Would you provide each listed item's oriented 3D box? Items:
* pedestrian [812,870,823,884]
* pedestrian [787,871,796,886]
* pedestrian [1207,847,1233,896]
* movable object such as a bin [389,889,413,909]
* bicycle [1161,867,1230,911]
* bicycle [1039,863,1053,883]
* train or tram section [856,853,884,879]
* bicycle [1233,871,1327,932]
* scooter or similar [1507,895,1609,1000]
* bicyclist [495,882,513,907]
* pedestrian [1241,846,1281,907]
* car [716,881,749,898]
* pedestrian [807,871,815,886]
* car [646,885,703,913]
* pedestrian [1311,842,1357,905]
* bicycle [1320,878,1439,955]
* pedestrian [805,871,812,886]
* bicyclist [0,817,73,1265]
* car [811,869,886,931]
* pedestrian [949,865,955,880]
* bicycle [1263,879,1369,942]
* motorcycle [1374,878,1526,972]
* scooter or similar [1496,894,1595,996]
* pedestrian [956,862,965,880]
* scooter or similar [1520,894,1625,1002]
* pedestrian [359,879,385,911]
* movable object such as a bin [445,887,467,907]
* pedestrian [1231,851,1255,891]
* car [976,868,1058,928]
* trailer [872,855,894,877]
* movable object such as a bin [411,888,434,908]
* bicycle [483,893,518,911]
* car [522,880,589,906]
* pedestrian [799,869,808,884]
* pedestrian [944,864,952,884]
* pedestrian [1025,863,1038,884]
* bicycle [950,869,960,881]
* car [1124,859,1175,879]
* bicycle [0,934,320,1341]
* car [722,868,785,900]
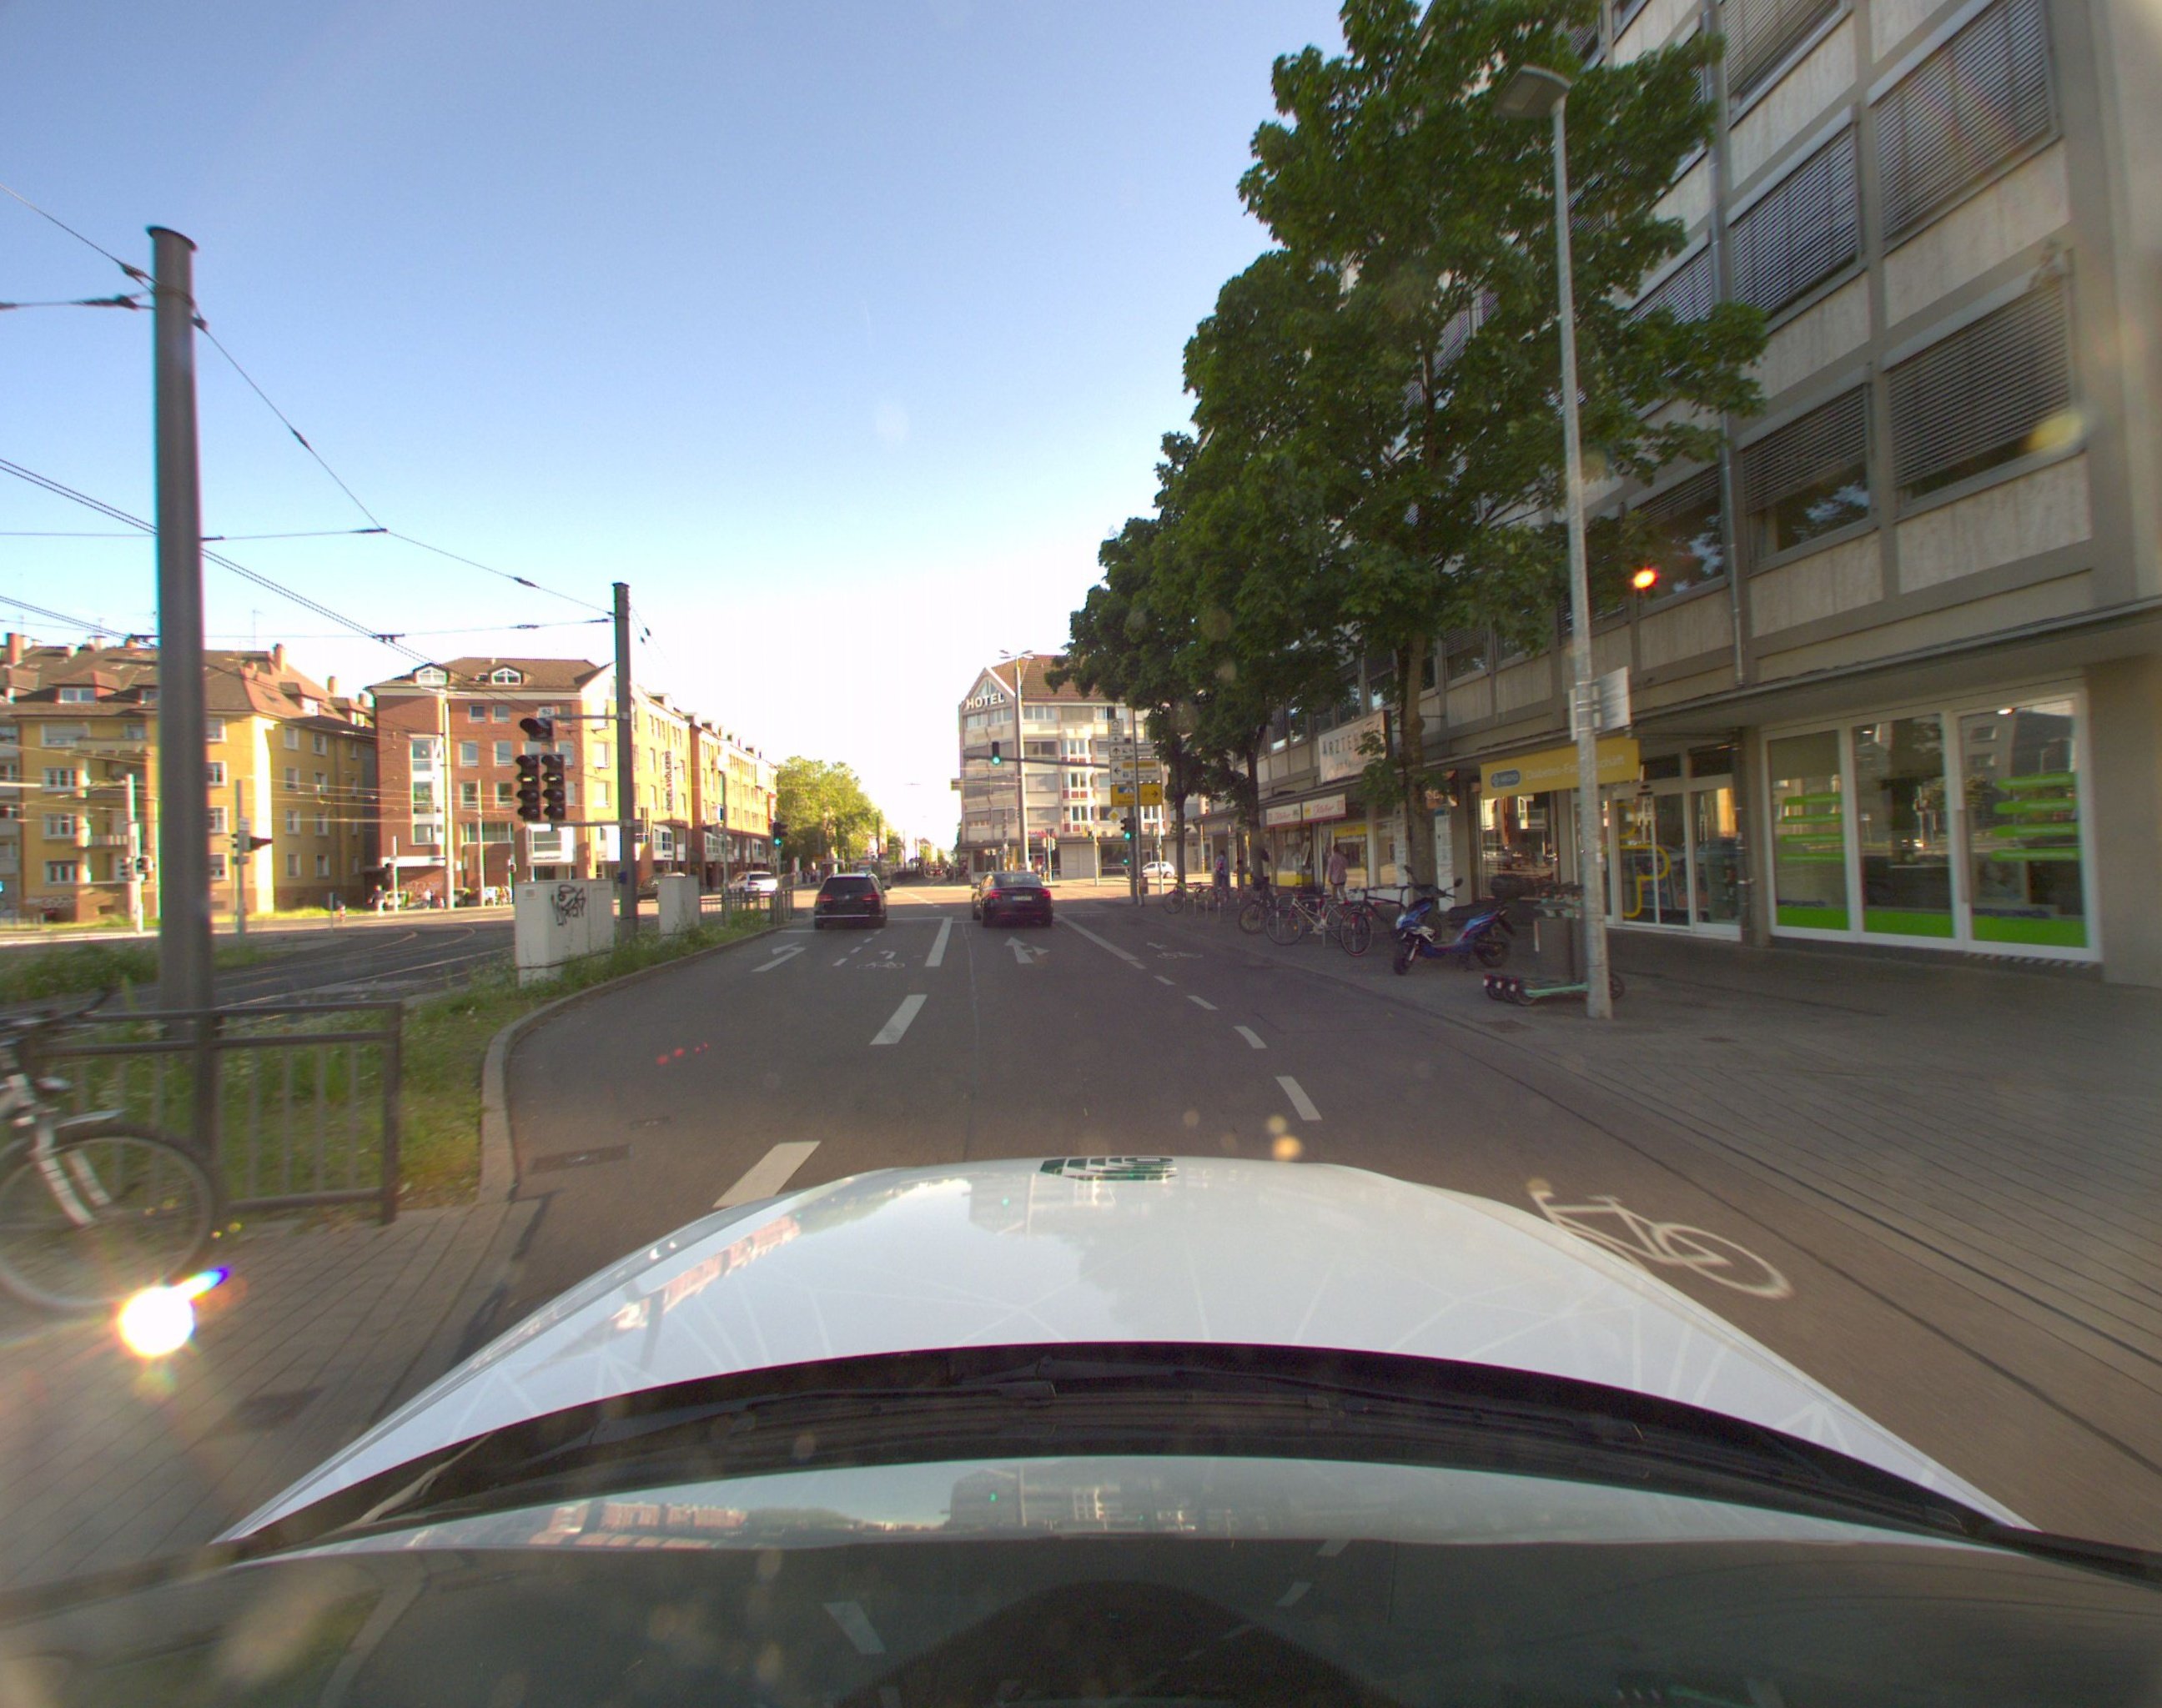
[{"bbox_3d":[-31.169,2.755,96.367,1.108,1.625,0.843,-2,-1,-17],"label":"pedestrian"},{"bbox_3d":[-29.785,2.506,83.792,0.632,1.564,0.587,-2,-1,9],"label":"pedestrian"},{"bbox_3d":[4.961,0.624,29.152,0.838,1.721,0.882,-2,-1,9],"label":"pedestrian"},{"bbox_3d":[-51.460,3.405,61.663,0.998,1.437,1.090,-2,-1,-16],"label":"movable object such as a bin"},{"bbox_3d":[3.337,1.014,23.828,1.887,1.156,0.479,-4,-1,-6],"label":"bicycle"},{"bbox_3d":[-2.724,1.460,63.193,0.584,1.463,1.674,-2,-1,-21],"label":"bicycle"},{"bbox_3d":[-31.137,1.799,120.481,2.728,3.542,10.057,-2,-1,-8],"label":"train or tram section"},{"bbox_3d":[4.093,0.965,16.755,1.810,1.151,0.434,-3,-1,-11],"label":"bicycle"},{"bbox_3d":[5.001,0.974,8.542,0.954,1.039,0.159,-3,-1,-4],"label":"scooter or similar"},{"bbox_3d":[-41.826,2.919,59.038,0.826,1.772,0.613,-2,-1,-5],"label":"bicyclist"},{"bbox_3d":[5.223,0.645,23.699,0.842,1.707,0.878,-2,-1,-7],"label":"pedestrian"},{"bbox_3d":[-34.917,3.502,81.759,1.814,1.454,3.971,-4,-1,-5],"label":"car"},{"bbox_3d":[-31.131,2.778,93.973,0.633,1.721,0.585,-2,-1,0],"label":"pedestrian"},{"bbox_3d":[-25.311,2.790,50.706,3.734,1.618,1.588,-3,-1,35],"label":"car"},{"bbox_3d":[6.693,0.509,21.570,0.842,1.602,0.878,-2,-1,-7],"label":"pedestrian"},{"bbox_3d":[4.719,0.965,12.850,1.855,1.056,0.397,-3,-1,-18],"label":"bicycle"},{"bbox_3d":[-29.104,2.598,87.017,0.586,1.531,0.632,-1,-1,-23],"label":"pedestrian"},{"bbox_3d":[-4.016,0.642,2.669,0.685,1.523,0.629,-1,-1,-27],"label":"bicyclist"},{"bbox_3d":[-6.335,1.170,22.280,1.768,1.444,4.504,-1,-1,-16],"label":"car"},{"bbox_3d":[-13.405,1.903,84.724,0.474,1.563,0.540,-1,-1,-28],"label":"pedestrian"},{"bbox_3d":[4.260,1.018,14.816,1.762,1.057,0.457,-2,-1,-2],"label":"bicycle"},{"bbox_3d":[4.853,0.912,10.743,1.785,1.130,0.503,-2,-1,-6],"label":"motorcycle"},{"bbox_3d":[4.984,0.972,8.742,0.962,1.027,0.159,-3,-1,-4],"label":"scooter or similar"},{"bbox_3d":[-12.168,1.739,82.275,0.914,1.754,0.837,-2,-1,-8],"label":"pedestrian"},{"bbox_3d":[5.012,0.951,8.312,0.962,1.043,0.159,-3,-1,-4],"label":"scooter or similar"},{"bbox_3d":[-39.556,2.288,45.447,0.696,1.710,0.926,-2,-1,-12],"label":"pedestrian"},{"bbox_3d":[-48.014,3.290,62.573,0.998,1.437,1.090,-2,-1,-16],"label":"movable object such as a bin"},{"bbox_3d":[5.789,0.609,29.124,0.644,1.422,0.620,-2,-1,-5],"label":"pedestrian"},{"bbox_3d":[-1.833,1.131,22.215,1.791,1.451,3.924,0,-1,-11],"label":"car"},{"bbox_3d":[-33.993,2.124,140.079,2.712,3.546,9.330,-2,-1,-8],"label":"trailer"},{"bbox_3d":[-50.267,3.372,62.144,0.998,1.437,1.090,-2,-1,-16],"label":"movable object such as a bin"},{"bbox_3d":[-42.063,3.472,59.005,2.031,1.223,0.627,-2,-1,-6],"label":"bicycle"},{"bbox_3d":[-35.174,2.609,54.534,3.440,1.551,1.736,-2,-1,10],"label":"car"},{"bbox_3d":[-31.124,2.525,91.312,0.578,1.721,0.641,-2,-1,20],"label":"pedestrian"},{"bbox_3d":[-12.160,1.826,74.435,0.626,1.782,0.915,-2,-1,-8],"label":"pedestrian"},{"bbox_3d":[-3.829,1.512,62.702,0.782,1.576,0.861,-1,0,-21],"label":"pedestrian"},{"bbox_3d":[-12.647,2.123,81.770,0.491,1.161,1.956,-1,-1,-26],"label":"bicycle"},{"bbox_3d":[5.707,1.277,68.180,3.843,1.432,1.796,-2,-3,-12],"label":"car"},{"bbox_3d":[-3.883,0.956,2.725,1.830,1.212,0.636,-1,-1,-27],"label":"bicycle"},{"bbox_3d":[-17.786,1.646,44.185,3.442,1.635,1.856,-3,-1,43],"label":"car"}]
